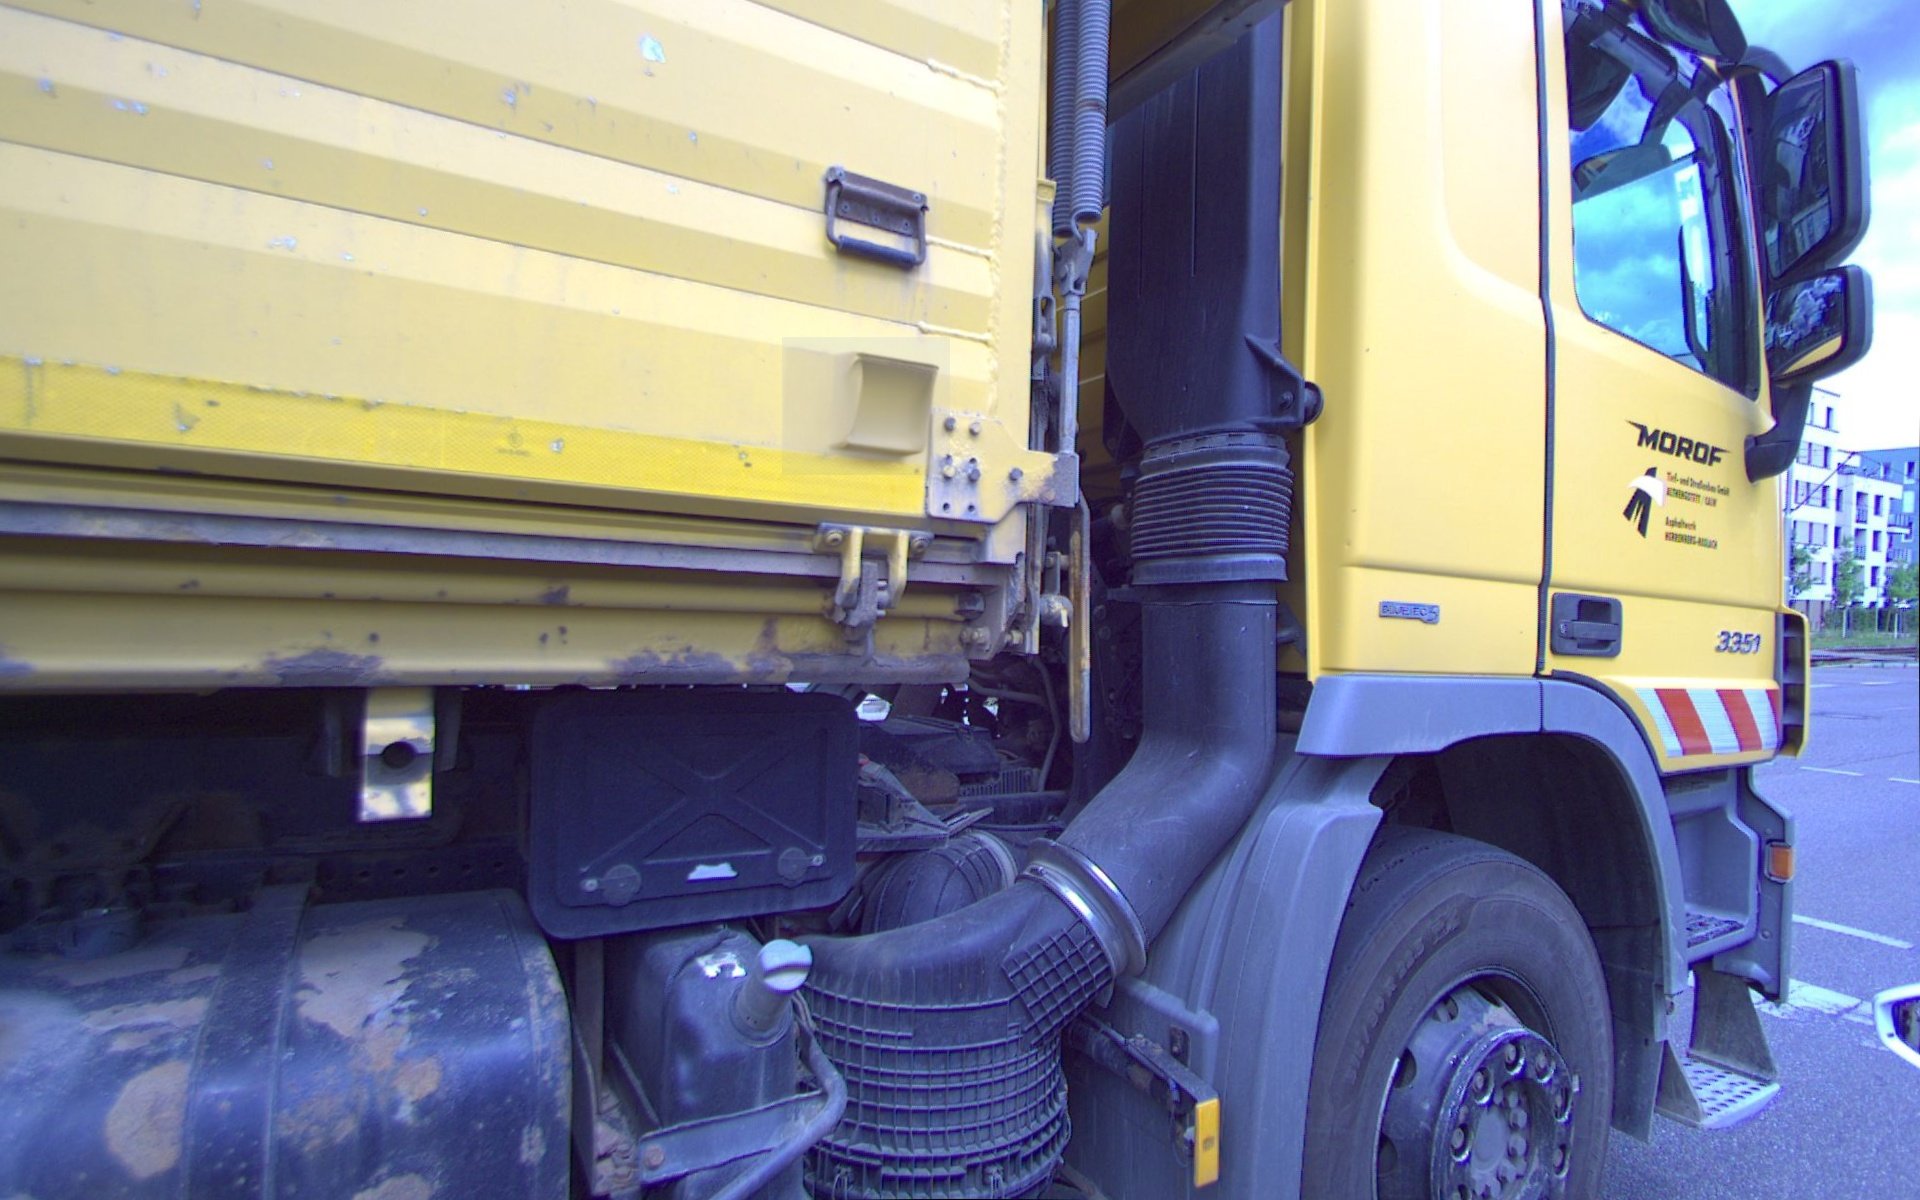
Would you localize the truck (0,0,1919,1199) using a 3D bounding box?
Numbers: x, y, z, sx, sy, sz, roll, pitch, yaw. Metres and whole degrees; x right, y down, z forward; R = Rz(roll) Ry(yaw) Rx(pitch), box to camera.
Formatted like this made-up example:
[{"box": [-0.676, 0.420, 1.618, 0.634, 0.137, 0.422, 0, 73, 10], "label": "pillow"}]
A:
[{"box": [-1.544, -0.023, 1.586, 7.688, 3.043, 2.707, 2, 0, -30], "label": "truck"}]
